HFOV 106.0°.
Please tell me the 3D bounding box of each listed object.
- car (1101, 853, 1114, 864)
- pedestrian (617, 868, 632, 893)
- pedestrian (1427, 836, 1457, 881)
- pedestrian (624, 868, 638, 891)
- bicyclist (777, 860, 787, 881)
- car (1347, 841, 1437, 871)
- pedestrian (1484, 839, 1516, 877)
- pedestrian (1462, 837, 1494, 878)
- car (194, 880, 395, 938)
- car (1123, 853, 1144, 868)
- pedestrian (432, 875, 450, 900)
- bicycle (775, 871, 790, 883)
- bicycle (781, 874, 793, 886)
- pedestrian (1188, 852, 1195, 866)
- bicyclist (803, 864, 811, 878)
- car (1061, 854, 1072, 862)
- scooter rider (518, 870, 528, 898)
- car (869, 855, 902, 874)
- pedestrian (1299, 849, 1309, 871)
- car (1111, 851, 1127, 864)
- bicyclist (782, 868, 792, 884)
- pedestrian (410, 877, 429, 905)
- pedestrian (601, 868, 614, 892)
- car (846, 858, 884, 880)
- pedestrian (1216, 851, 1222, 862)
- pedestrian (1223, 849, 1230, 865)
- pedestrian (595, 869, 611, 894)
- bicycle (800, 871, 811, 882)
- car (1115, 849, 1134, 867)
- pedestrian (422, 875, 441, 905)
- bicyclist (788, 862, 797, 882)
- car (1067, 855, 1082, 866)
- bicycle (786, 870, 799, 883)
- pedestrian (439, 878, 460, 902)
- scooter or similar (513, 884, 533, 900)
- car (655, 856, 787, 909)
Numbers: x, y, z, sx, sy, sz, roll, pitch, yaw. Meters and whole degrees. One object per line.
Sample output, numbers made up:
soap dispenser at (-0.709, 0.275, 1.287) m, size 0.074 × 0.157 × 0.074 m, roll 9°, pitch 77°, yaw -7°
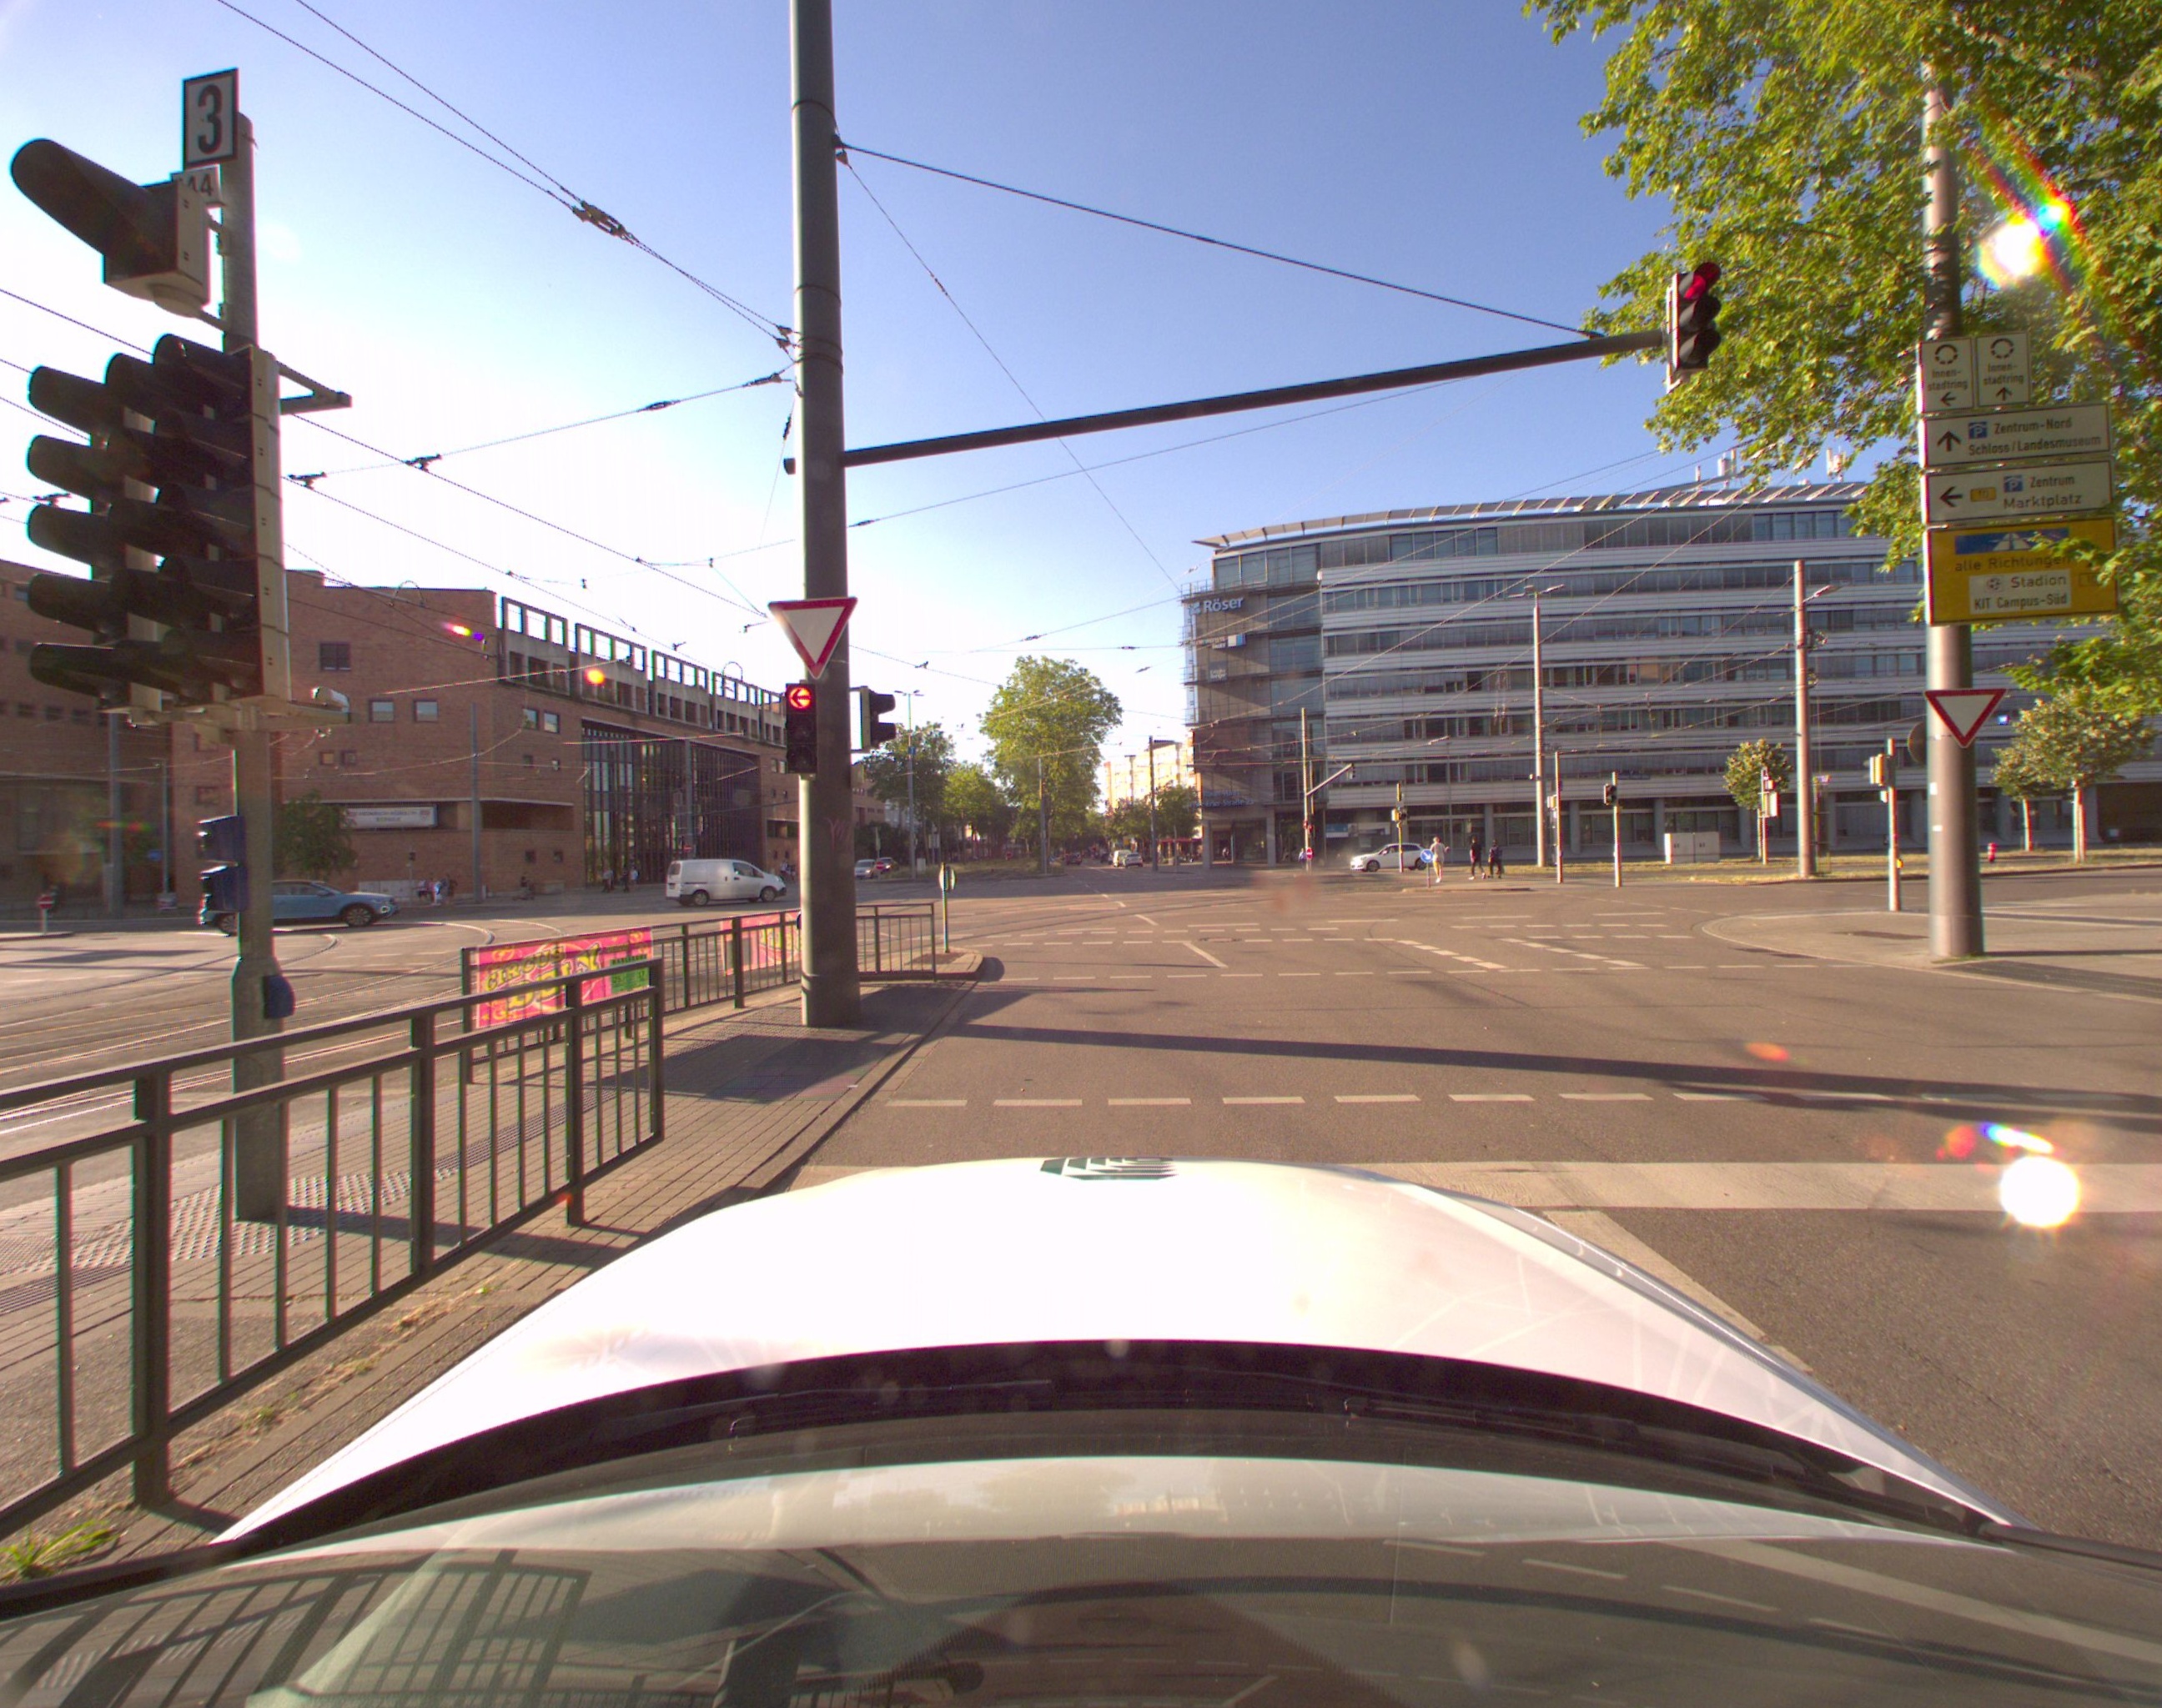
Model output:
car at (4.115, 0.654, 126.794) m, size 1.986 × 1.618 × 4.002 m, roll -2°, pitch 0°, yaw 2°
pedestrian at (-31.571, 1.841, 56.320) m, size 0.587 × 1.683 × 0.552 m, roll -2°, pitch 0°, yaw 8°
pedestrian at (14.666, 0.177, 33.112) m, size 0.858 × 1.788 × 0.874 m, roll -2°, pitch 0°, yaw 9°
pedestrian at (-32.018, 1.816, 57.940) m, size 0.608 × 1.625 × 0.619 m, roll -2°, pitch 0°, yaw 5°
bicyclist at (-24.333, 1.331, 66.241) m, size 0.534 × 1.731 × 0.581 m, roll -2°, pitch 0°, yaw 1°
car at (17.065, 0.104, 44.809) m, size 4.275 × 1.488 × 1.764 m, roll -2°, pitch 0°, yaw 4°
pedestrian at (17.667, 0.173, 34.351) m, size 0.943 × 1.564 × 0.899 m, roll -2°, pitch 0°, yaw 9°
pedestrian at (16.878, 0.143, 34.628) m, size 0.907 × 1.685 × 1.038 m, roll -2°, pitch 0°, yaw 9°
car at (-23.736, 1.619, 24.805) m, size 4.117 × 1.426 × 1.616 m, roll -2°, pitch 0°, yaw -31°
car at (5.307, 0.619, 82.839) m, size 1.986 × 1.376 × 4.002 m, roll -2°, pitch 0°, yaw 2°
pedestrian at (-38.024, 1.966, 48.380) m, size 0.568 × 1.453 × 0.612 m, roll -2°, pitch 0°, yaw -13°
bicycle at (-24.326, 1.853, 66.333) m, size 0.540 × 0.963 × 1.587 m, roll -2°, pitch 0°, yaw 2°
bicycle at (-25.012, 2.243, 69.390) m, size 0.466 × 0.963 × 1.320 m, roll -2°, pitch 0°, yaw 2°
pedestrian at (14.222, 0.631, 104.895) m, size 0.741 × 1.714 × 0.612 m, roll -2°, pitch 0°, yaw 1°
bicyclist at (-24.334, 1.480, 72.311) m, size 0.503 × 1.179 × 0.581 m, roll -2°, pitch 0°, yaw 1°
car at (-2.607, 0.795, 147.141) m, size 1.792 × 1.442 × 3.999 m, roll 0°, pitch -1°, yaw 0°
scooter rider at (-33.715, 1.806, 49.212) m, size 0.441 × 1.647 × 0.226 m, roll -2°, pitch 0°, yaw -44°
car at (-18.100, 0.961, 75.547) m, size 1.987 × 1.640 × 4.001 m, roll -2°, pitch 0°, yaw 1°
pedestrian at (15.600, 0.422, 56.970) m, size 0.608 × 1.507 × 0.580 m, roll -2°, pitch 0°, yaw 9°
car at (4.840, 0.475, 105.312) m, size 1.986 × 1.618 × 4.002 m, roll -2°, pitch 0°, yaw 2°
bicyclist at (-25.026, 1.879, 69.333) m, size 0.503 × 1.304 × 0.581 m, roll -2°, pitch 0°, yaw 1°
pedestrian at (-38.434, 2.137, 47.335) m, size 0.594 × 1.614 × 0.589 m, roll -2°, pitch 0°, yaw 1°
pedestrian at (-33.592, 1.867, 57.783) m, size 0.568 × 1.683 × 0.550 m, roll -2°, pitch 0°, yaw 8°
car at (-17.990, 1.217, 67.972) m, size 1.987 × 1.640 × 4.001 m, roll -2°, pitch 0°, yaw 1°
pedestrian at (21.182, 0.403, 124.960) m, size 0.741 × 1.714 × 0.612 m, roll -2°, pitch 0°, yaw 1°
pedestrian at (13.881, 0.257, 77.827) m, size 0.608 × 1.507 × 0.580 m, roll -2°, pitch 0°, yaw 9°
pedestrian at (-32.889, 1.900, 56.036) m, size 0.644 × 1.683 × 0.625 m, roll -2°, pitch 0°, yaw 15°
bicycle at (-24.410, 1.997, 72.288) m, size 0.449 × 0.963 × 1.348 m, roll -2°, pitch 0°, yaw 2°
car at (4.761, 0.448, 89.656) m, size 1.986 × 1.860 × 4.002 m, roll -2°, pitch 0°, yaw 2°
pedestrian at (-37.542, 2.080, 47.089) m, size 0.597 × 1.648 × 0.549 m, roll -2°, pitch 0°, yaw 1°
bicyclist at (-23.604, 1.428, 66.547) m, size 0.456 × 1.603 × 0.581 m, roll -2°, pitch 0°, yaw 1°
car at (-0.903, 0.887, 110.690) m, size 1.791 × 1.442 × 4.002 m, roll -2°, pitch 0°, yaw 2°
bicycle at (-23.585, 1.818, 66.551) m, size 0.471 × 0.963 × 1.576 m, roll -2°, pitch 0°, yaw 2°
pedestrian at (-36.525, 2.072, 47.115) m, size 0.597 × 1.339 × 0.684 m, roll -2°, pitch 0°, yaw 17°
scooter or similar at (-33.715, 2.277, 49.171) m, size 0.956 × 0.899 × 0.173 m, roll -2°, pitch 0°, yaw -45°
car at (-14.509, 1.101, 33.021) m, size 1.739 × 1.867 × 4.552 m, roll -2°, pitch 0°, yaw 45°
